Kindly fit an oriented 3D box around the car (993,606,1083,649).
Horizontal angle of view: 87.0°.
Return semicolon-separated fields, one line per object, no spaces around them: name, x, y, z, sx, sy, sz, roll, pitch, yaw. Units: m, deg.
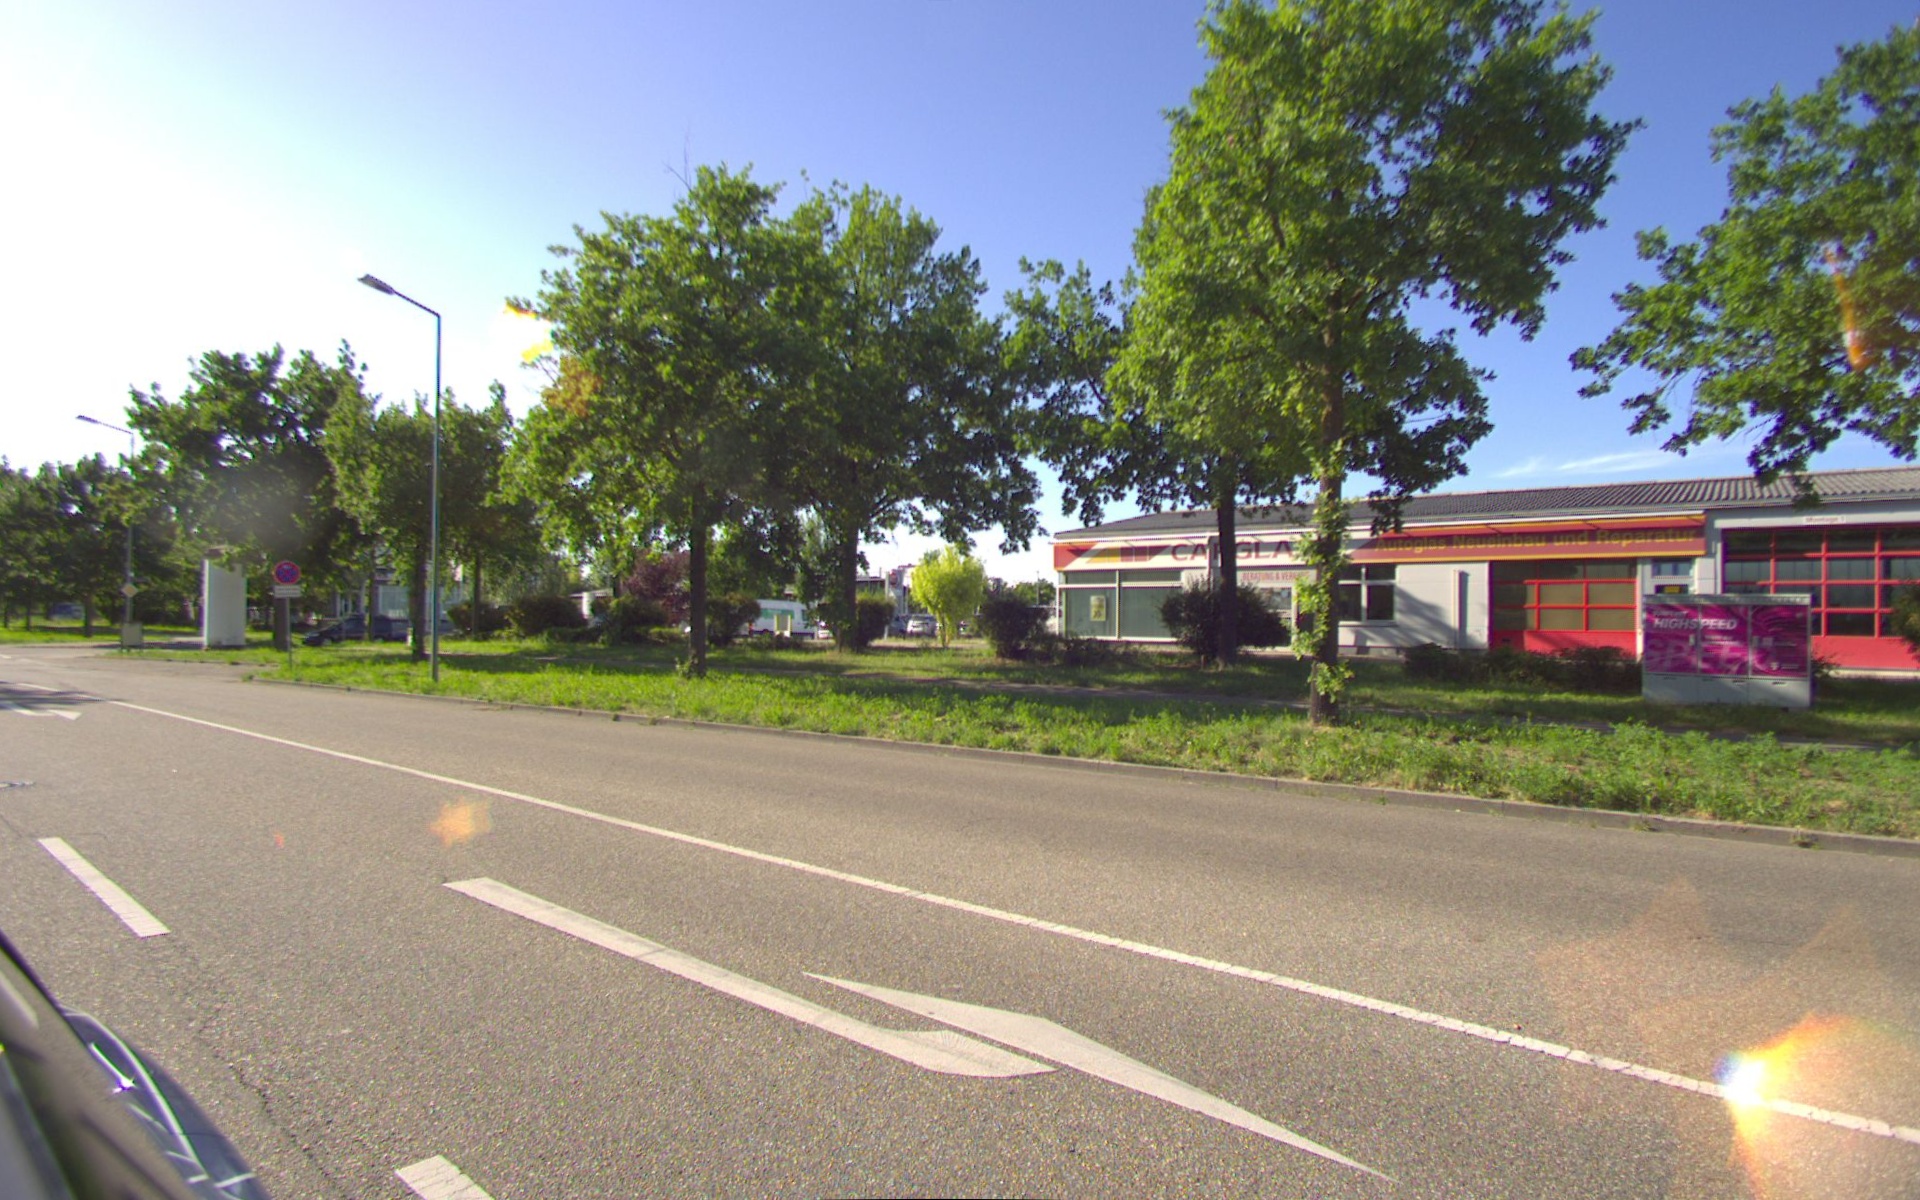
car;3.167;1.098;40.655;1.734;1.583;3.769;-3;-1;40

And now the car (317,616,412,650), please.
car;-36.018;1.945;61.291;1.999;1.847;4.578;-1;0;41

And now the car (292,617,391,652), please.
car;-35.313;1.945;57.868;1.999;1.847;4.406;-1;0;41

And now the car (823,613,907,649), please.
car;-5.192;1.657;55.841;1.989;1.795;4.583;-1;0;40

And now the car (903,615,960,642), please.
car;-1.917;1.926;68.675;1.761;1.684;3.811;-1;0;40

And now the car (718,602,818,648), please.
car;-11.497;1.459;61.053;2.406;2.574;5.952;-1;0;36
